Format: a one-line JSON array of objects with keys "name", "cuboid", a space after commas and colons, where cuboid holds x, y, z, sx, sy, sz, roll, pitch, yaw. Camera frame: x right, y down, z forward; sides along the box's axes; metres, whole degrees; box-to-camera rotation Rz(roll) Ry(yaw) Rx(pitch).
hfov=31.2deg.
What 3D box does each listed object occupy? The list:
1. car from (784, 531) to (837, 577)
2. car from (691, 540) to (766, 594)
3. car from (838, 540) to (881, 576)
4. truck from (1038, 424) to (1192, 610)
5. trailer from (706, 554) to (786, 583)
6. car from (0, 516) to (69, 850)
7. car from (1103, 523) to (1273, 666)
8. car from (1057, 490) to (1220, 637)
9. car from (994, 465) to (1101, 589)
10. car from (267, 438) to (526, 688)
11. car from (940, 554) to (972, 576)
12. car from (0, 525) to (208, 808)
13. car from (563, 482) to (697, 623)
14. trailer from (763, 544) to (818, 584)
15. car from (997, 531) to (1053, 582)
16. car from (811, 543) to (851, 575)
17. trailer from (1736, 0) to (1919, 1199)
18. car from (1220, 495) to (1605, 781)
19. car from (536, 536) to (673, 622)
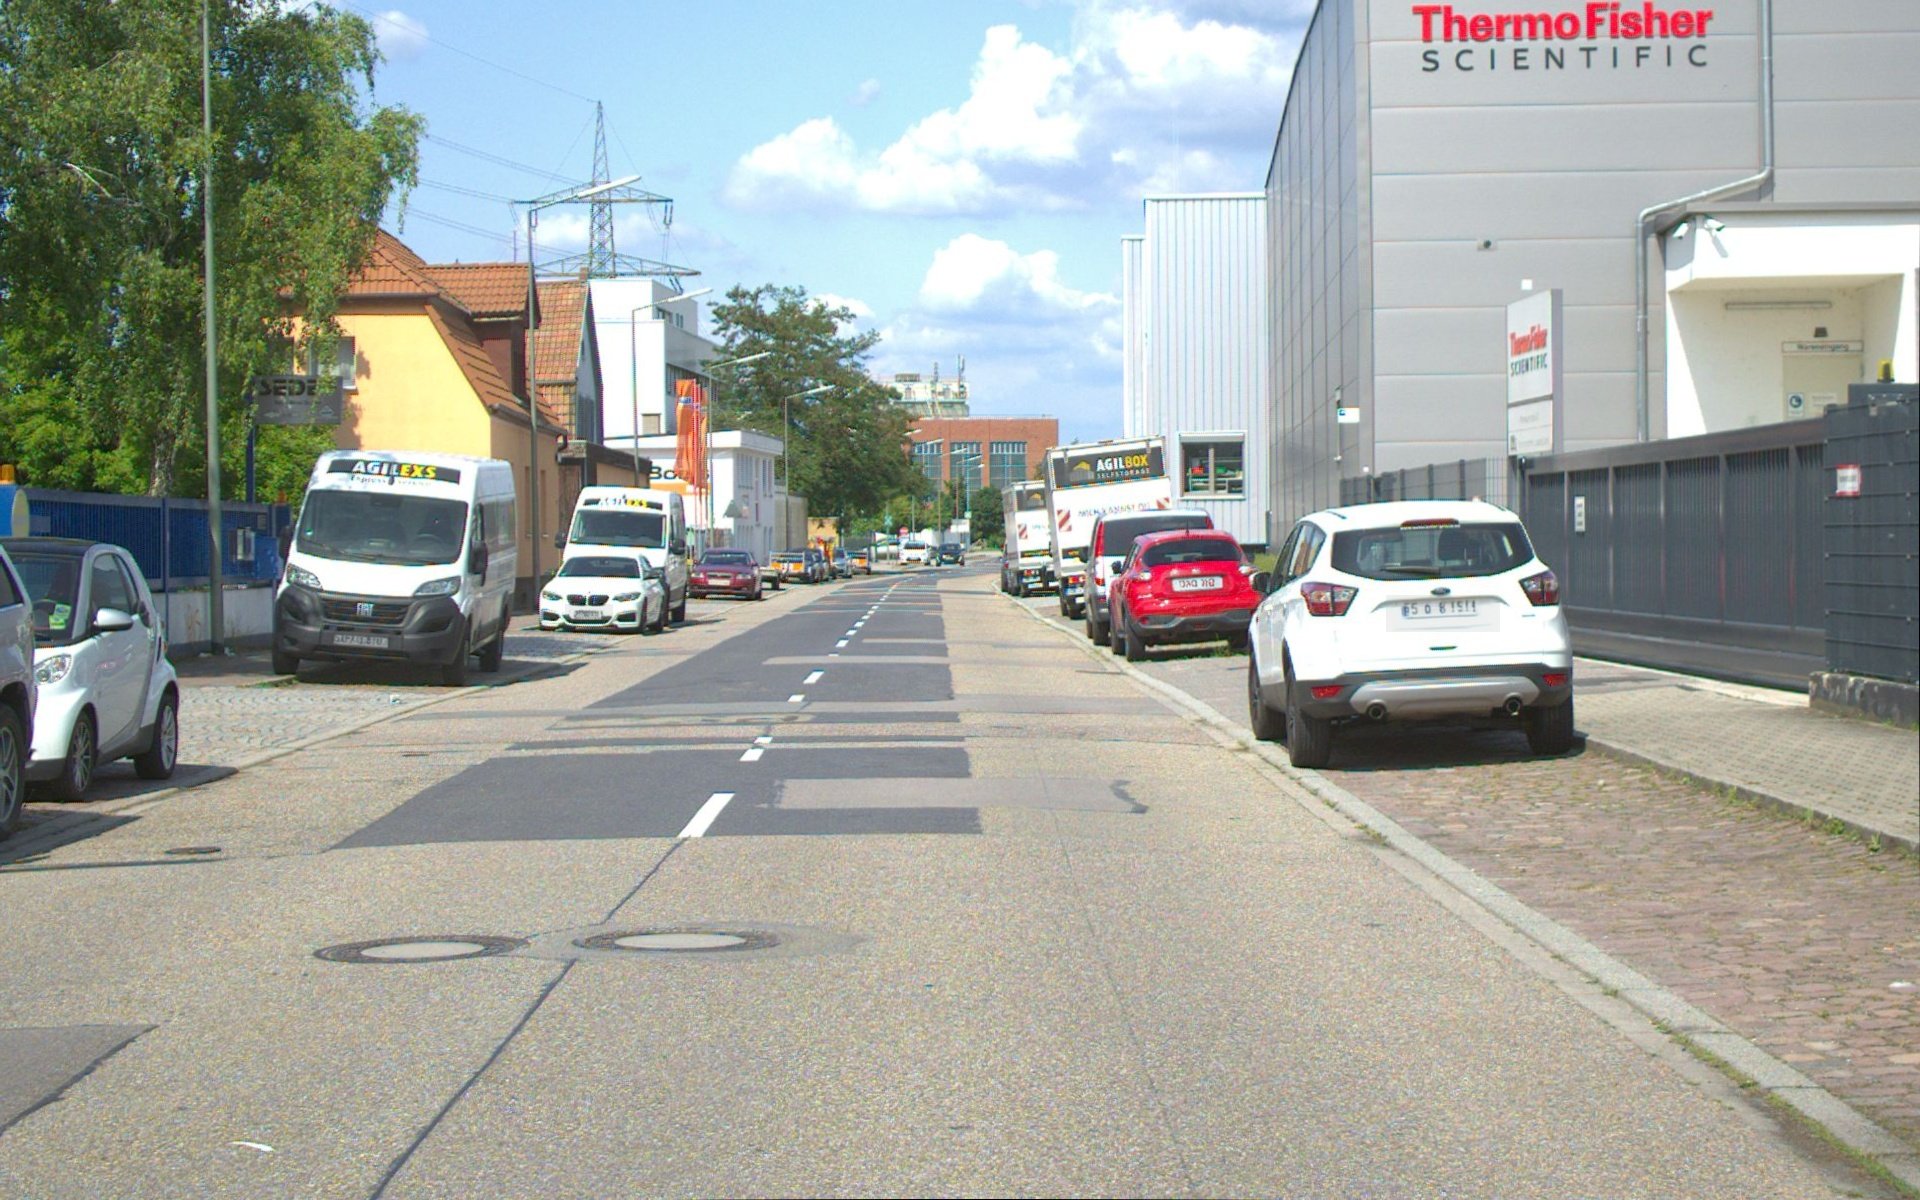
[{"name": "car", "cuboid": [-6.669, -2.052, 153.407, 1.994, 2.007, 4.000, 1, 1, 2]}, {"name": "car", "cuboid": [-6.552, -0.935, 97.665, 1.762, 1.442, 4.741, 1, 1, 0]}, {"name": "car", "cuboid": [-5.165, -2.155, 176.546, 1.922, 1.788, 4.000, 1, 1, 2]}, {"name": "truck", "cuboid": [2.984, -1.608, 67.873, 2.458, 3.282, 6.818, -5, 1, 0]}, {"name": "trailer", "cuboid": [-7.217, -1.072, 116.565, 2.362, 0.890, 5.569, 1, 1, 0]}, {"name": "car", "cuboid": [-5.790, 0.416, 16.481, 1.790, 1.713, 4.752, 2, 1, 0]}, {"name": "car", "cuboid": [2.836, -0.083, 43.457, 1.704, 1.619, 4.093, -4, 1, -1]}, {"name": "car", "cuboid": [2.557, -0.558, 50.376, 2.054, 1.897, 5.147, -4, 1, 1]}, {"name": "car", "cuboid": [2.477, -2.074, 99.110, 2.388, 3.351, 6.646, -3, 1, -3]}, {"name": "car", "cuboid": [-6.297, -0.423, 39.179, 2.029, 2.549, 6.658, 2, 1, -2]}, {"name": "car", "cuboid": [-0.249, -2.175, 213.564, 1.918, 1.280, 3.614, -1, 1, 1]}, {"name": "car", "cuboid": [-5.896, 0.345, 21.435, 1.609, 1.568, 3.009, 3, 1, 2]}, {"name": "car", "cuboid": [-6.280, -0.904, 66.191, 2.026, 2.552, 6.840, 1, 1, -1]}, {"name": "trailer", "cuboid": [-6.785, -1.449, 137.797, 1.993, 1.551, 4.254, 0, 1, 0]}, {"name": "car", "cuboid": [2.096, -1.418, 111.369, 1.768, 1.607, 3.873, -1, 1, 1]}, {"name": "car", "cuboid": [-5.946, -1.890, 158.662, 1.668, 1.442, 3.454, 1, 1, 0]}, {"name": "trailer", "cuboid": [3.147, 0.029, 5.393, 2.204, 2.727, 6.222, -3, 1, -1]}, {"name": "car", "cuboid": [3.007, 0.186, 23.837, 1.935, 1.687, 4.680, -3, 1, 0]}, {"name": "car", "cuboid": [-6.048, -0.370, 58.936, 1.796, 1.392, 4.502, 1, 1, 1]}]
